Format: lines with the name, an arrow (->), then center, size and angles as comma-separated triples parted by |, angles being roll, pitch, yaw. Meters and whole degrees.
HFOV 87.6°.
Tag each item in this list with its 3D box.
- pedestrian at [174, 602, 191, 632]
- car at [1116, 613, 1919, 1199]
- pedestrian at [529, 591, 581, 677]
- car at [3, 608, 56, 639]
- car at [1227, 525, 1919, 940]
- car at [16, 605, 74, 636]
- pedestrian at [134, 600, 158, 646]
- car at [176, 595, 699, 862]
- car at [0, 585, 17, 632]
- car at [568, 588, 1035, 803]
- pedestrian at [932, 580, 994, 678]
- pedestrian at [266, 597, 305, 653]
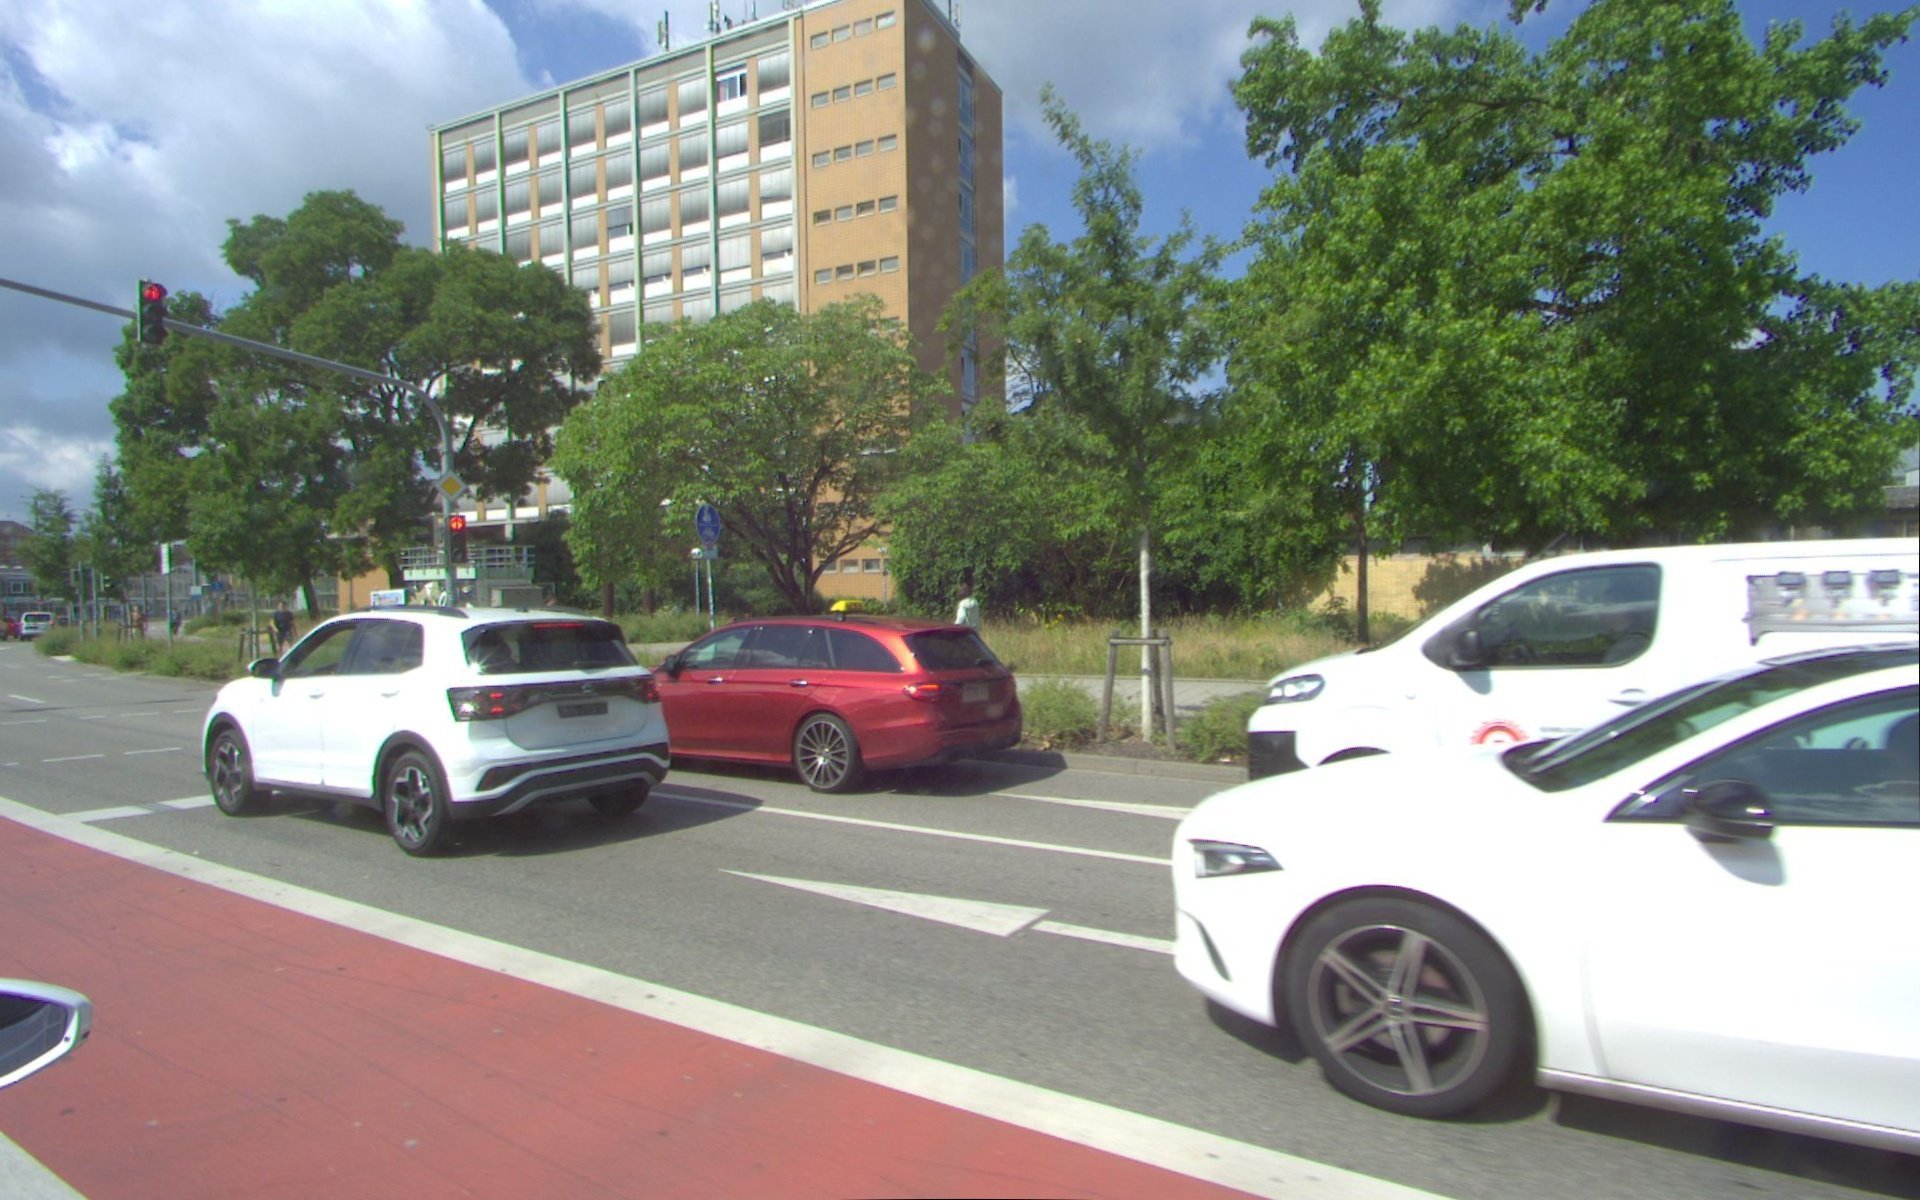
pedestrian -> -47.722, 1.034, 61.433 | 0.781, 1.808, 0.662 | -1, 1, -38
car -> 2.857, 0.789, 3.101 | 4.321, 1.443, 1.900 | 0, 1, 32
pedestrian -> -8.513, 0.693, 21.035 | 0.669, 1.759, 0.741 | 0, 1, 32
car -> -63.780, 1.592, 68.715 | 1.972, 1.965, 4.607 | -2, 1, -35
car -> 4.183, 0.603, 5.833 | 4.755, 1.895, 1.938 | 0, 1, 32
car -> -57.014, 1.241, 62.444 | 1.973, 1.819, 3.975 | -2, 1, -33
pedestrian -> -32.056, 0.898, 39.419 | 0.572, 1.757, 0.656 | 1, 1, 45
car -> -4.066, 0.779, 7.661 | 3.952, 1.559, 1.788 | 0, -1, 32
car -> -59.385, 0.550, 60.939 | 2.109, 2.818, 4.607 | -2, 1, -35
car -> -1.616, 0.752, 9.600 | 4.397, 1.663, 1.678 | 0, 0, 31
pedestrian -> 0.057, 0.487, 17.357 | 0.710, 1.660, 0.866 | 0, 1, 32
pedestrian -> -18.798, 0.687, 27.914 | 0.545, 1.528, 0.767 | 0, 1, 36
